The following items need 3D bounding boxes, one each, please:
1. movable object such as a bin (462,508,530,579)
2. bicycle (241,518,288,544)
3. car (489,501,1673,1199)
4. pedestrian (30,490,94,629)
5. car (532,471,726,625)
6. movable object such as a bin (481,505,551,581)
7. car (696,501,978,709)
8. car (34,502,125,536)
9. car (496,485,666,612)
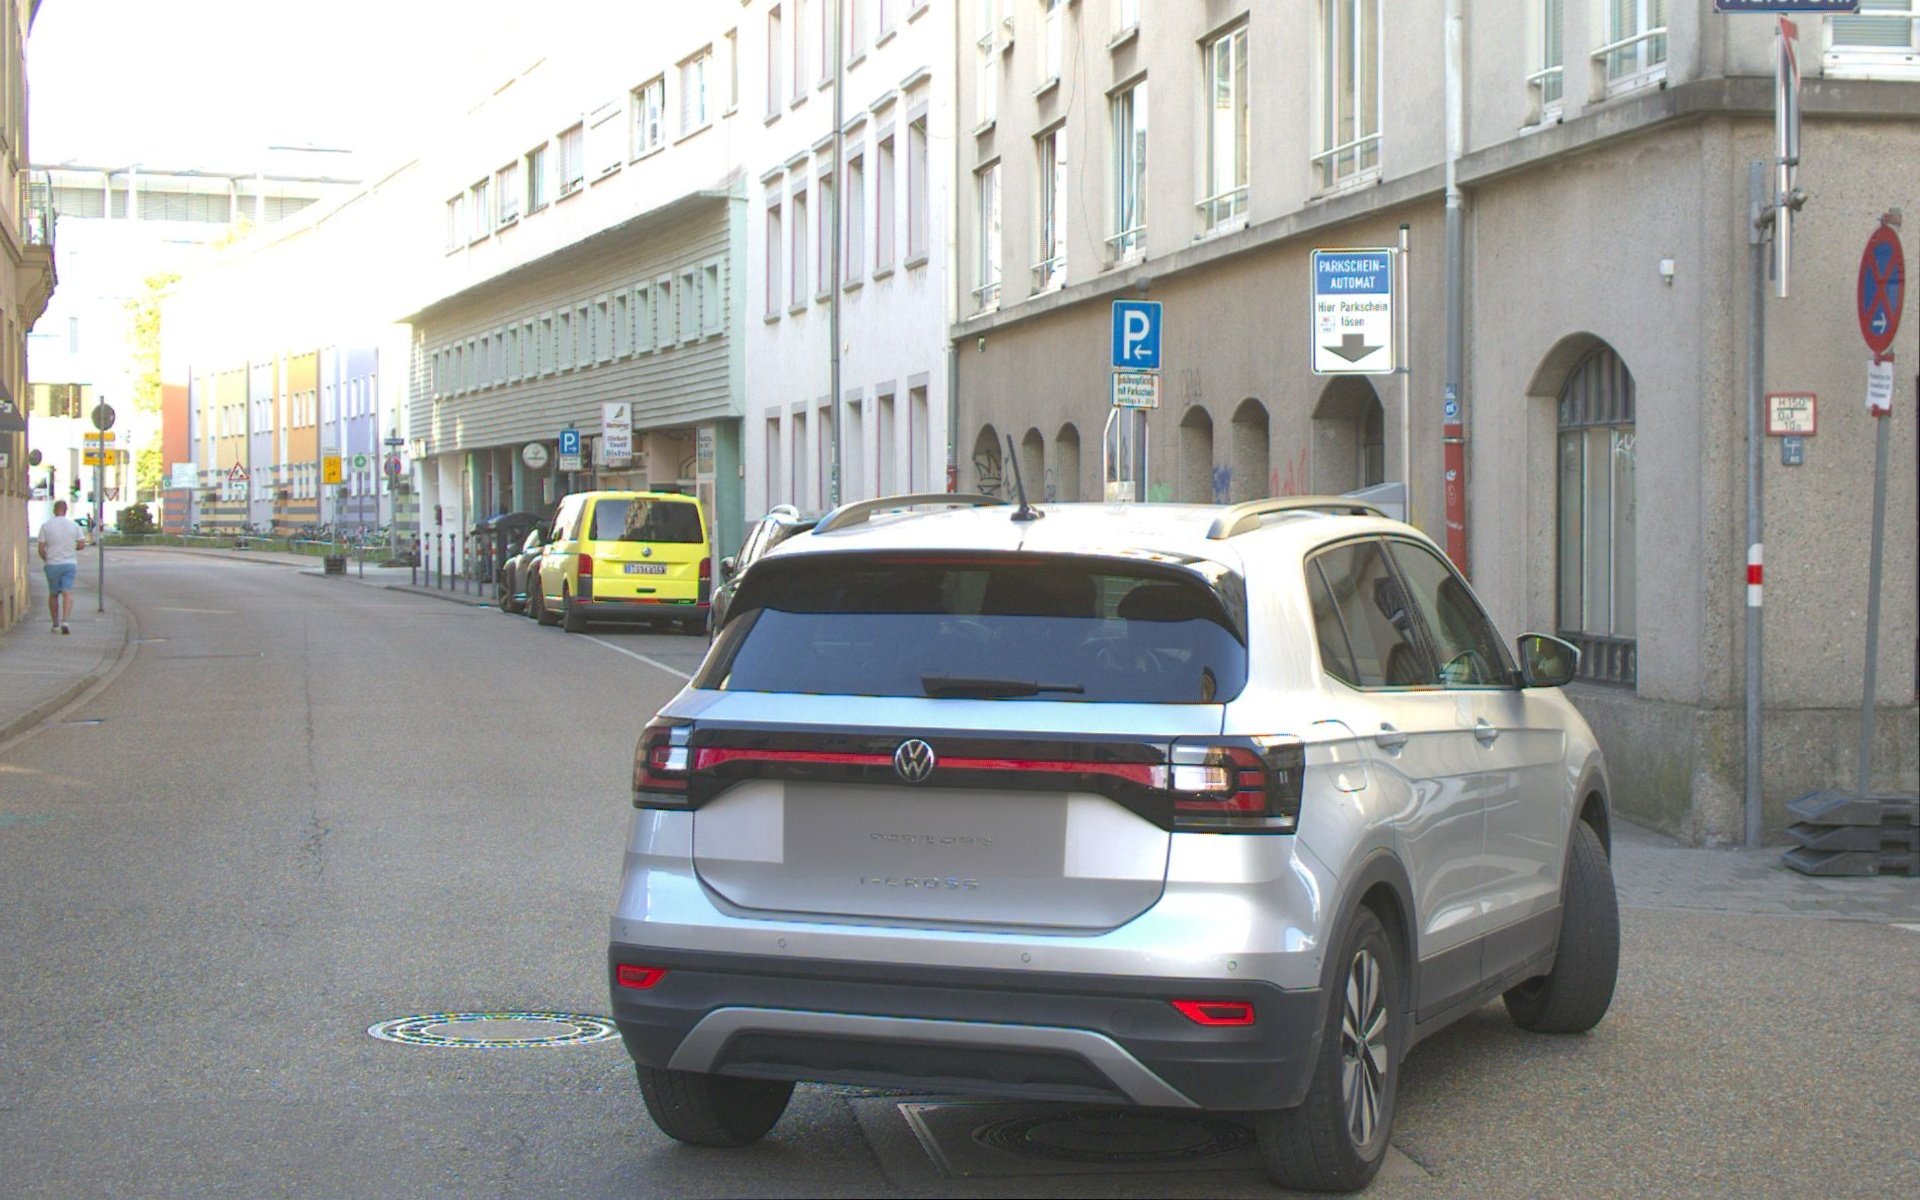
[{"bbox_3d":[-9.848,-1.211,72.898,1.131,1.474,1.740,0,1,-18],"label":"movable object such as a bin"},{"bbox_3d":[-27.340,-2.705,135.147,1.780,0.997,0.547,0,1,-15],"label":"bicycle"},{"bbox_3d":[0.579,0.525,9.092,1.839,1.557,3.996,0,2,23],"label":"car"},{"bbox_3d":[-11.219,-0.514,42.928,0.765,1.718,0.687,0,1,-15],"label":"pedestrian"},{"bbox_3d":[-4.586,-0.735,47.107,2.052,2.006,4.176,0,2,-14],"label":"car"},{"bbox_3d":[-9.203,-1.187,71.213,1.131,1.552,1.740,0,1,-18],"label":"movable object such as a bin"},{"bbox_3d":[-1.173,-0.009,30.742,1.967,1.686,4.102,1,1,-9],"label":"car"},{"bbox_3d":[-43.836,-4.047,171.153,4.063,1.663,1.720,-1,2,-35],"label":"car"},{"bbox_3d":[-5.875,-0.818,52.858,2.052,1.866,4.102,0,2,-14],"label":"car"}]
